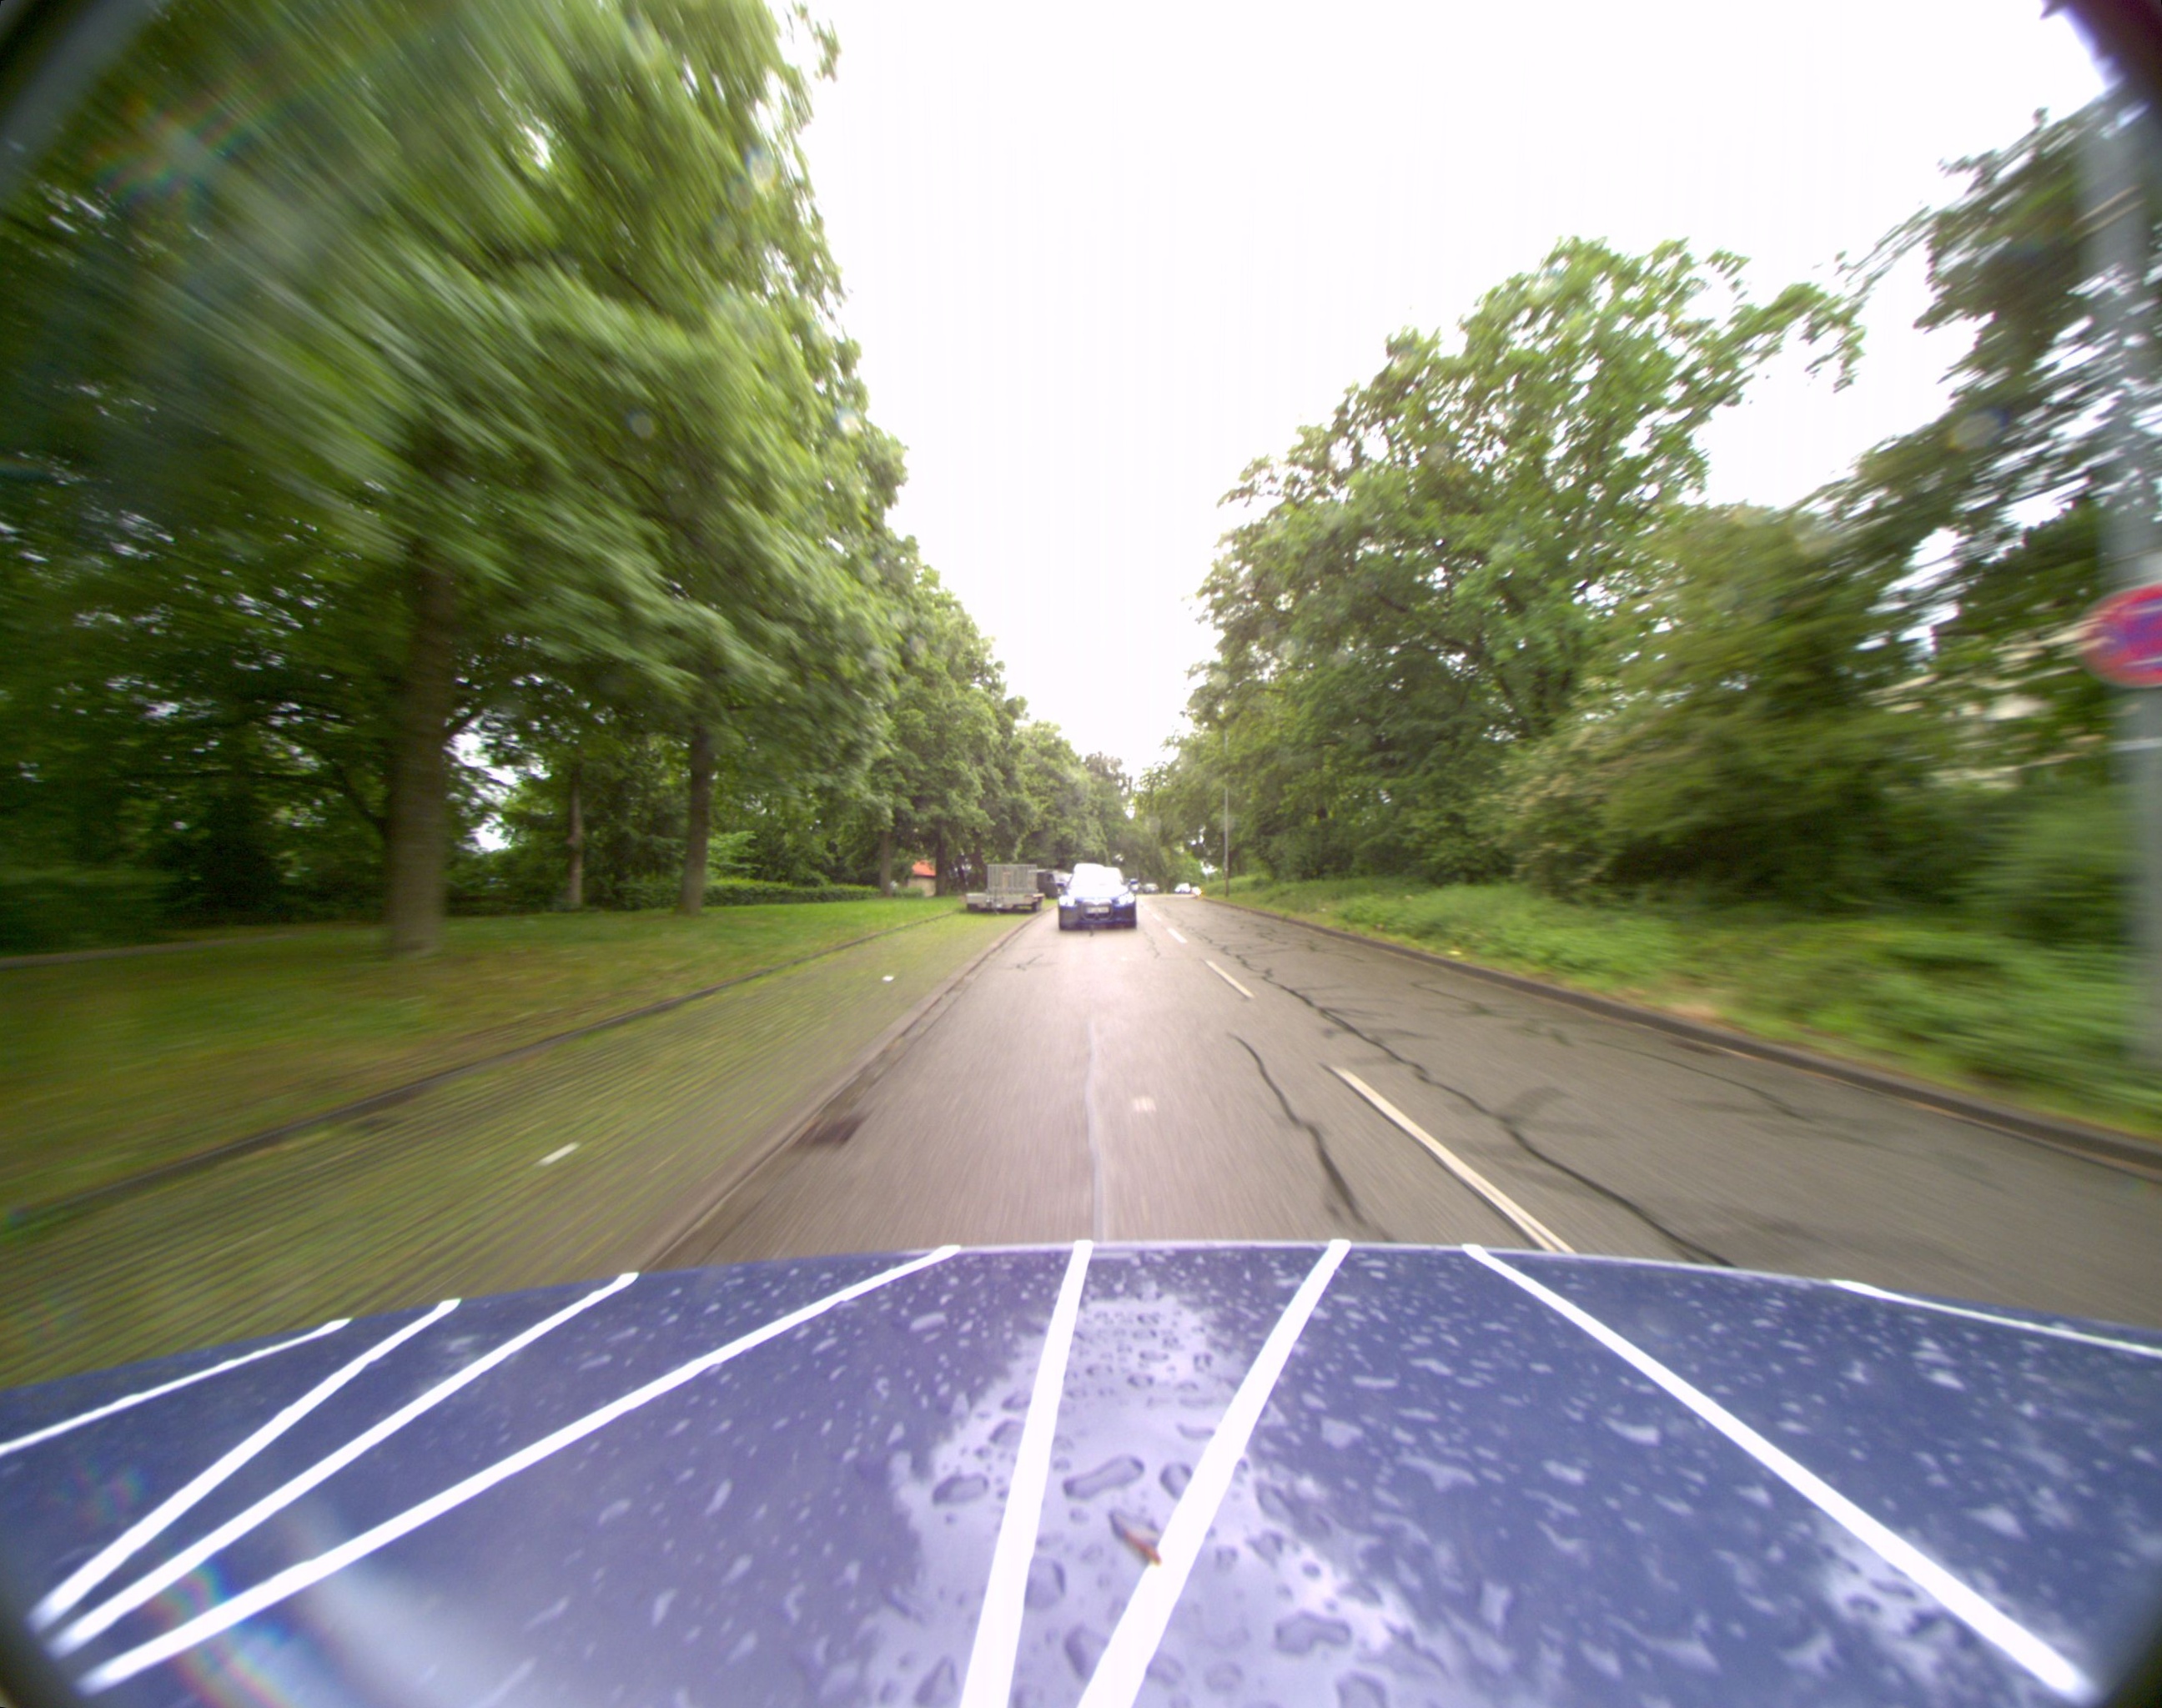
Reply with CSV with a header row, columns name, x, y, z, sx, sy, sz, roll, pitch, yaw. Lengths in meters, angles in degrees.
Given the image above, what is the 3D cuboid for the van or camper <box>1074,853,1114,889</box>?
name,x,y,z,sx,sy,sz,roll,pitch,yaw
van or camper,1.151,1.473,62.429,2.019,2.566,8.446,-3,-4,9

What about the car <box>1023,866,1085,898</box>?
name,x,y,z,sx,sy,sz,roll,pitch,yaw
car,-1.565,1.557,43.042,1.615,1.671,3.997,1,-1,-35

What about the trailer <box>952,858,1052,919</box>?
name,x,y,z,sx,sy,sz,roll,pitch,yaw
trailer,-2.433,1.042,25.156,2.455,1.802,5.893,0,-1,2

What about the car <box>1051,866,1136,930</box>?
name,x,y,z,sx,sy,sz,roll,pitch,yaw
car,0.236,1.136,20.322,1.840,1.501,3.999,-1,-2,-5

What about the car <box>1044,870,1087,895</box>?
name,x,y,z,sx,sy,sz,roll,pitch,yaw
car,-0.921,1.825,47.868,1.997,1.488,4.571,0,-3,8

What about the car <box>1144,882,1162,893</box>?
name,x,y,z,sx,sy,sz,roll,pitch,yaw
car,9.354,4.363,98.324,1.703,1.452,4.224,0,-3,14
